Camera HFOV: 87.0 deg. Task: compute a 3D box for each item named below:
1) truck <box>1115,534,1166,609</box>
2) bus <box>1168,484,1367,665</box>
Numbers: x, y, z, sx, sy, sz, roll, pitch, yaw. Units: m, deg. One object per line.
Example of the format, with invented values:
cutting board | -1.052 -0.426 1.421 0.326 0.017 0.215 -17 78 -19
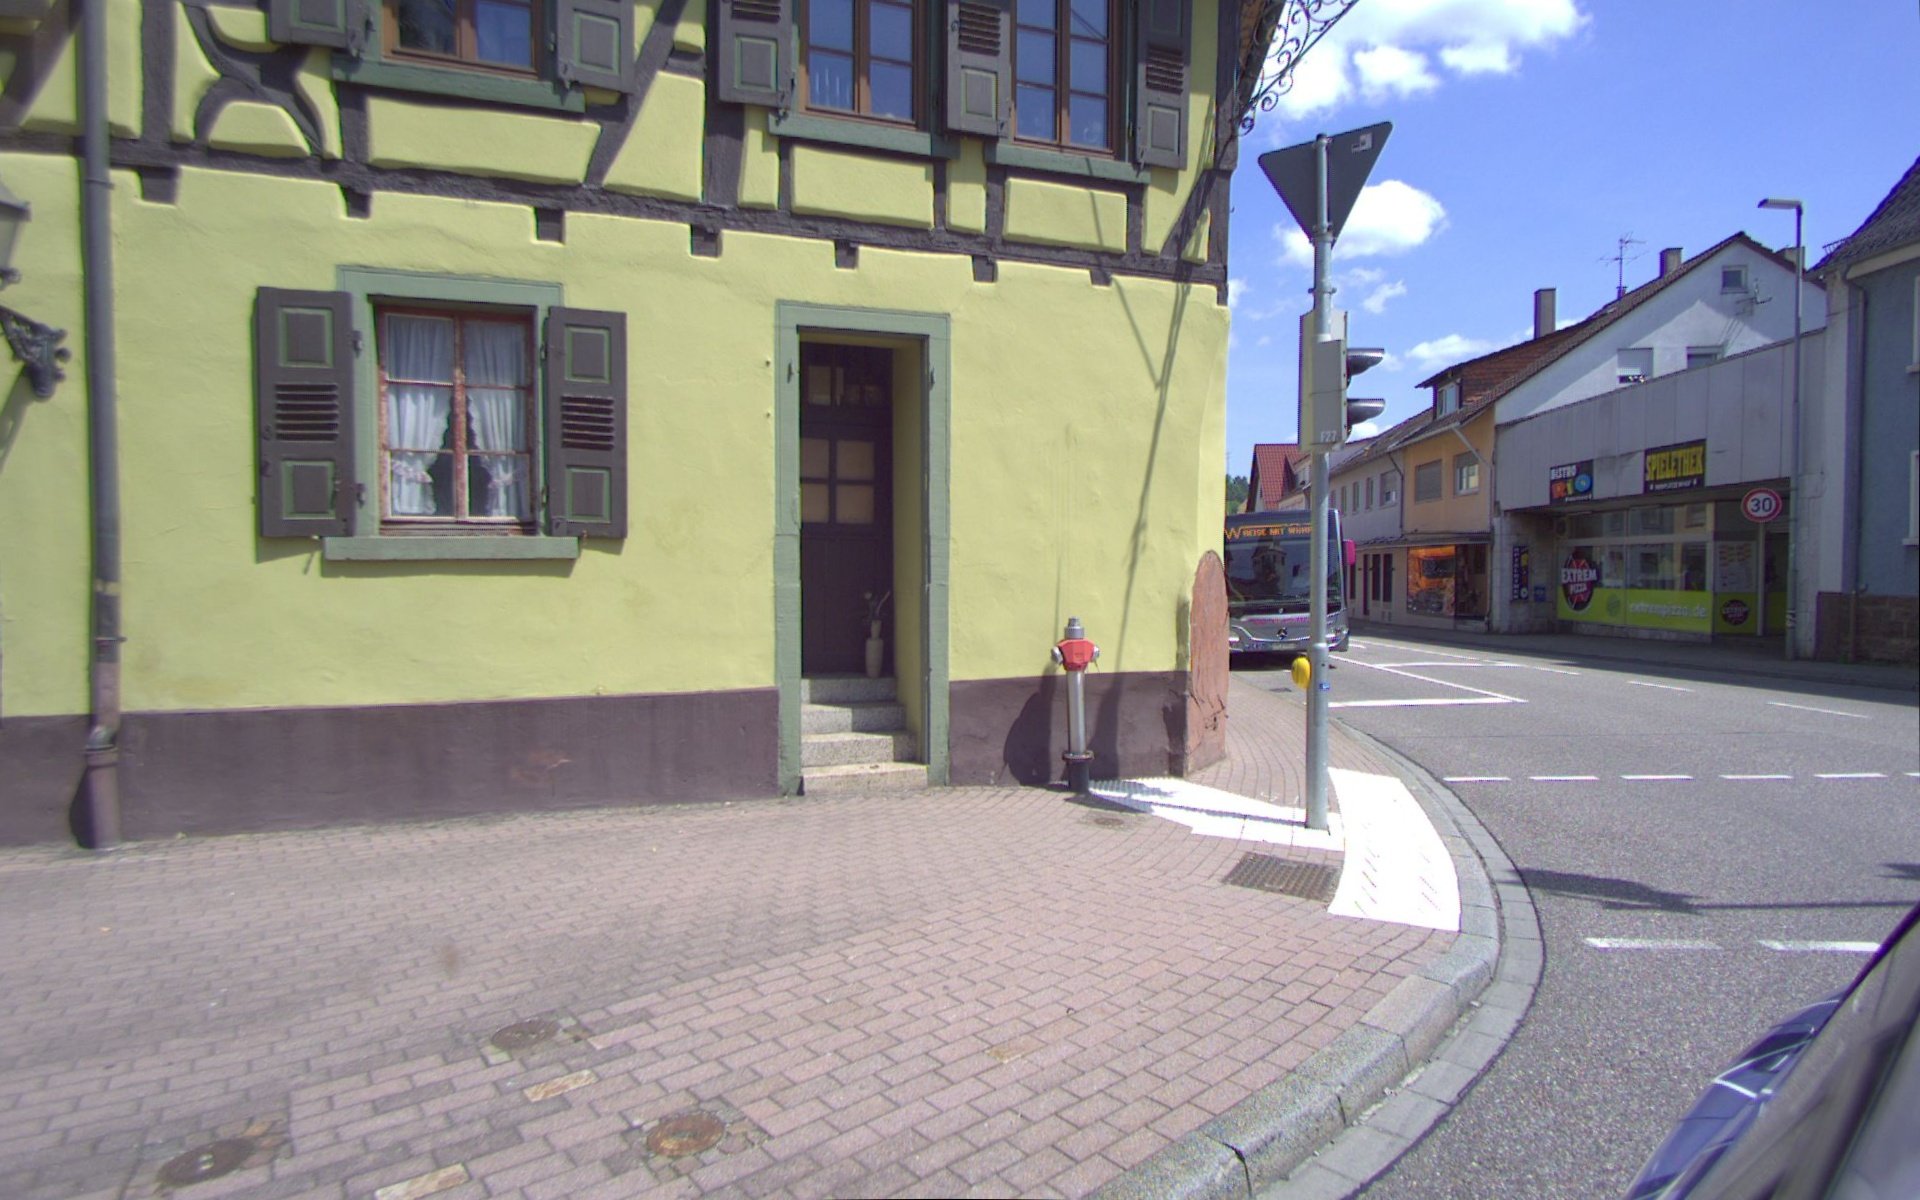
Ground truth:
truck | 10.718 -1.611 60.821 2.573 3.995 9.968 -2 0 8
bus | 7.474 -0.502 27.741 2.815 3.245 18.977 -1 0 10
